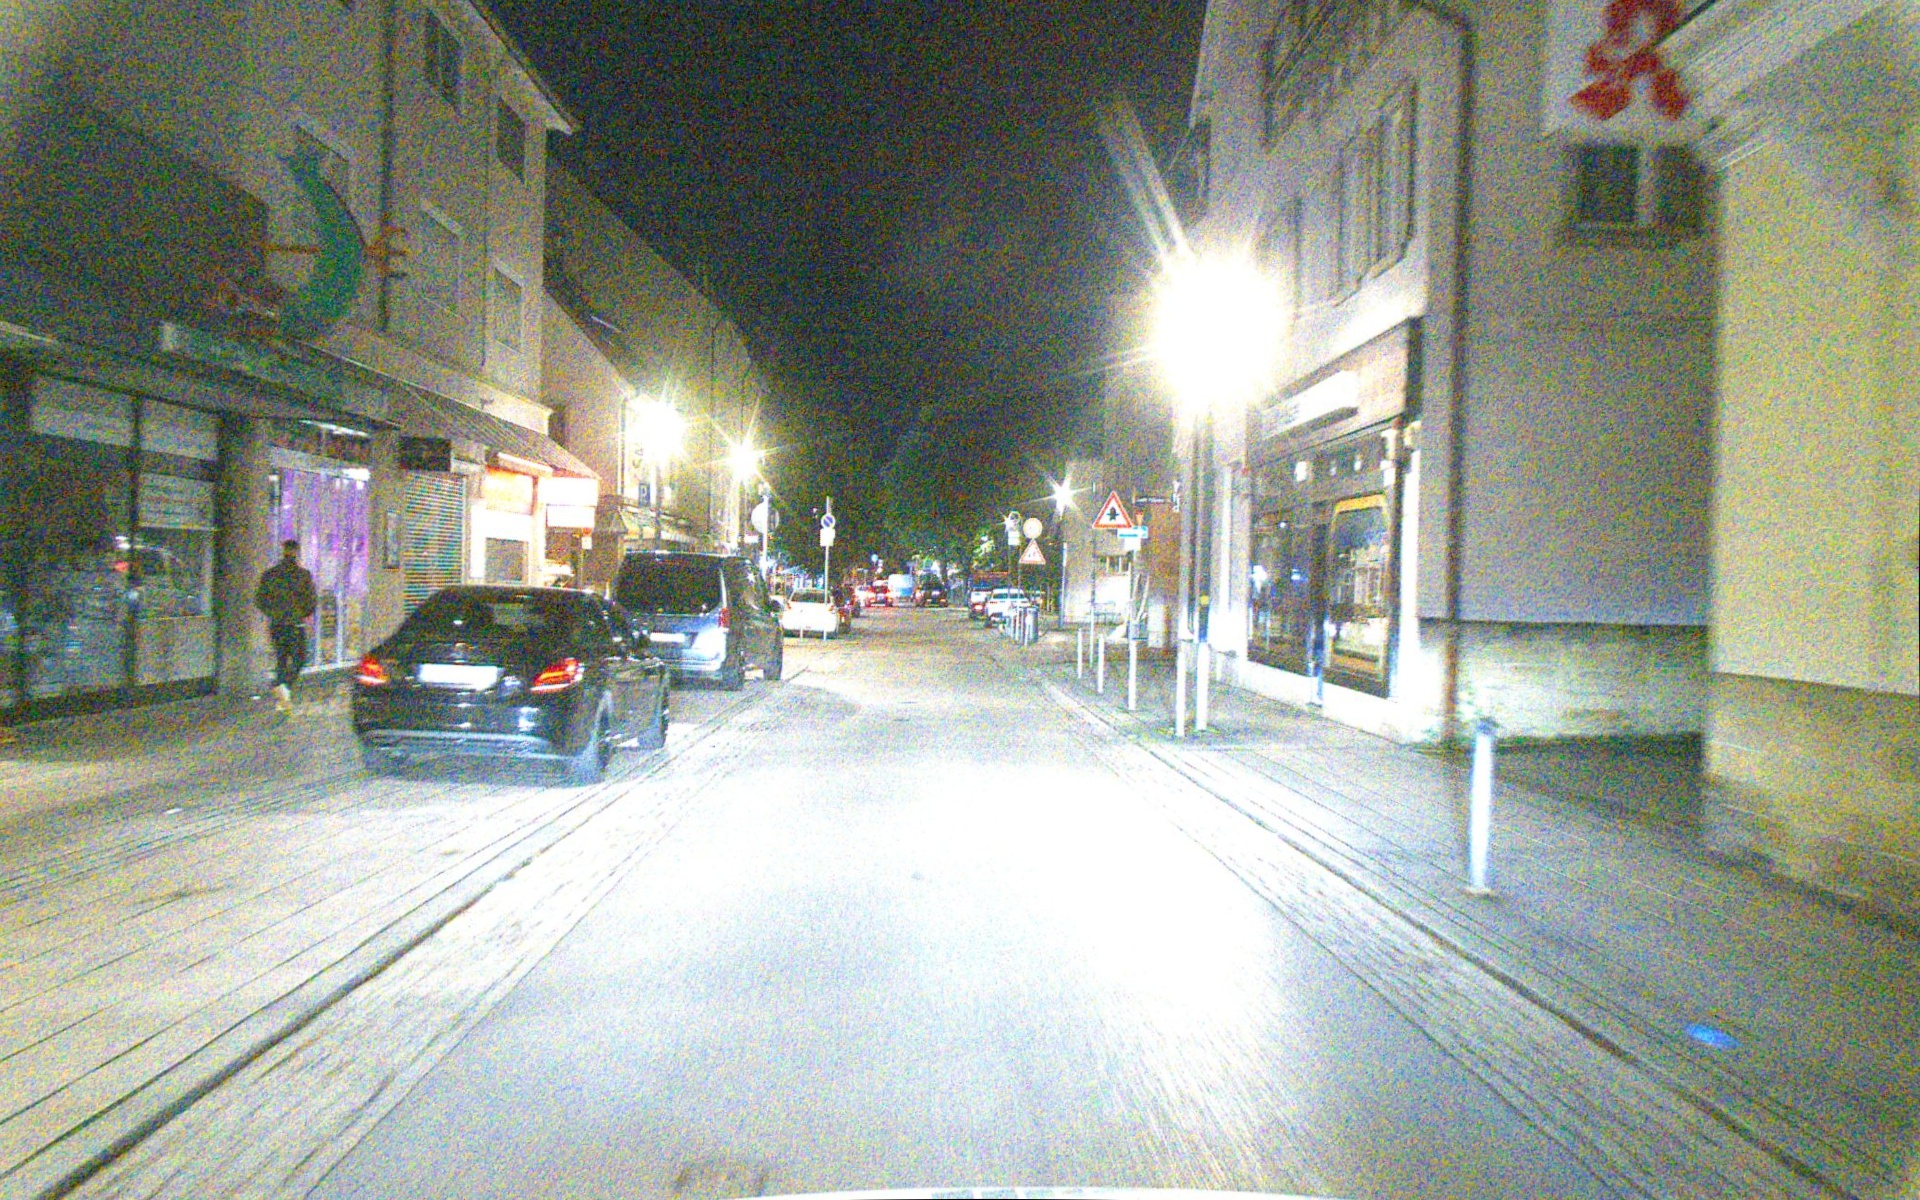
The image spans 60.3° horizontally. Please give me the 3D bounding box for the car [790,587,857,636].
[{"bbox_3d":[-4.635,0.362,56.878,1.979,1.514,5.005,3,0,-2],"label":"car"}]

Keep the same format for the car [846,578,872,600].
[{"bbox_3d":[-8.171,-0.908,133.584,1.955,1.732,3.995,1,0,-6],"label":"car"}]

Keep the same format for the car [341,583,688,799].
[{"bbox_3d":[-3.439,0.615,13.625,1.682,1.437,4.385,2,0,-1],"label":"car"}]

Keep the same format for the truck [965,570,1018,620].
[{"bbox_3d":[1.515,-0.271,81.322,2.289,2.352,5.778,0,1,-2],"label":"truck"}]

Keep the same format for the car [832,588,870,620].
[{"bbox_3d":[-5.648,0.180,85.387,1.642,1.570,4.224,1,0,-7],"label":"car"}]

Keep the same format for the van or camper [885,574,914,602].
[{"bbox_3d":[-5.239,-1.074,142.320,2.069,2.357,4.254,-1,1,-8],"label":"van or camper"}]

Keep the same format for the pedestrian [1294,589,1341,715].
[{"bbox_3d":[4.536,0.651,21.030,0.490,1.574,0.480,1,0,5],"label":"pedestrian"}]

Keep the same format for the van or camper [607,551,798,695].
[{"bbox_3d":[-3.860,0.309,25.753,1.807,1.976,5.156,1,0,4],"label":"van or camper"}]

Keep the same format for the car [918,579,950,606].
[{"bbox_3d":[-1.843,-0.569,116.360,1.781,1.860,4.340,0,1,-8],"label":"car"}]

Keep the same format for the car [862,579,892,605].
[{"bbox_3d":[-6.021,-0.592,119.635,1.955,1.855,3.995,1,0,-6],"label":"car"}]

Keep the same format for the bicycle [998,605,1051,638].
[{"bbox_3d":[2.119,0.712,54.348,1.720,1.080,0.346,0,0,-4],"label":"bicycle"}]

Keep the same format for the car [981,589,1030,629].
[{"bbox_3d":[1.772,0.325,65.687,1.753,1.517,4.058,-1,1,-1],"label":"car"}]

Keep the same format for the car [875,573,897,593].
[{"bbox_3d":[-7.242,-1.688,161.470,1.804,1.934,3.840,0,0,-7],"label":"car"}]

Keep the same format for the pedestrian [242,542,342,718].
[{"bbox_3d":[-6.986,0.301,17.328,0.608,1.776,1.022,1,0,-1],"label":"pedestrian"}]

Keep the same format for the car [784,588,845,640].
[{"bbox_3d":[-4.538,0.408,51.847,1.694,1.502,3.845,1,0,-2],"label":"car"}]
